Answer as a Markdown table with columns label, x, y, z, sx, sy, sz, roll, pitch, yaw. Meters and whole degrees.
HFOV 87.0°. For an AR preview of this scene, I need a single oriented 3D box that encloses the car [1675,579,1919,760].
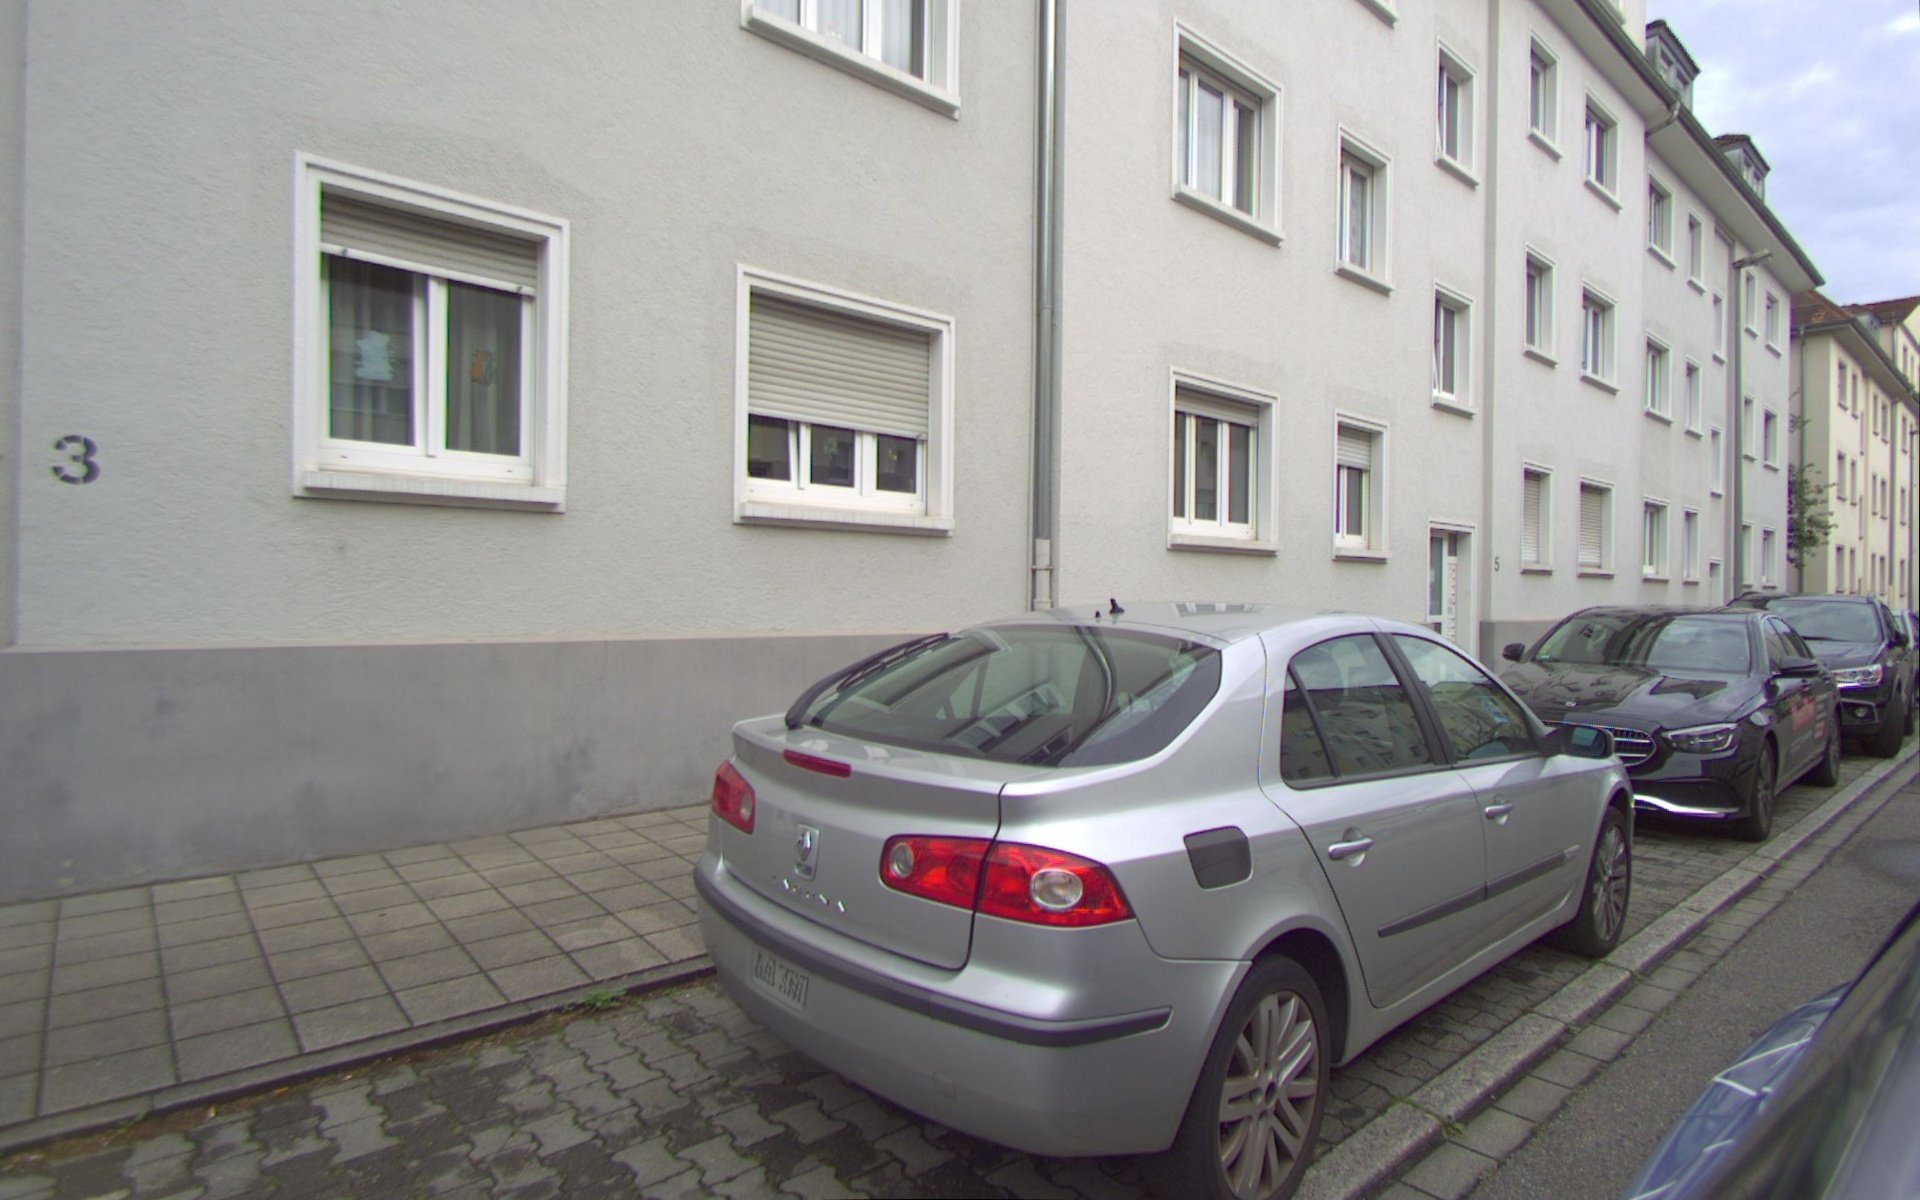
| label | x | y | z | sx | sy | sz | roll | pitch | yaw |
| --- | --- | --- | --- | --- | --- | --- | --- | --- | --- |
| car | 9.519 | 0.624 | 11.160 | 4.089 | 1.619 | 1.850 | 1 | 1 | -43 |

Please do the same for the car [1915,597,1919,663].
| label | x | y | z | sx | sy | sz | roll | pitch | yaw |
| --- | --- | --- | --- | --- | --- | --- | --- | --- | --- |
| car | 24.781 | 0.729 | 24.817 | 3.615 | 1.566 | 1.735 | 0 | 1 | -43 |

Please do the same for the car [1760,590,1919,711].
| label | x | y | z | sx | sy | sz | roll | pitch | yaw |
| --- | --- | --- | --- | --- | --- | --- | --- | --- | --- |
| car | 13.087 | 0.650 | 14.637 | 3.691 | 1.505 | 1.735 | 1 | 1 | -41 |

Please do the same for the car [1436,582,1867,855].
| label | x | y | z | sx | sy | sz | roll | pitch | yaw |
| --- | --- | --- | --- | --- | --- | --- | --- | --- | --- |
| car | 5.399 | 0.652 | 7.658 | 4.249 | 1.481 | 1.784 | 1 | 1 | -43 |

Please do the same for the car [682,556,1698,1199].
| label | x | y | z | sx | sy | sz | roll | pitch | yaw |
| --- | --- | --- | --- | --- | --- | --- | --- | --- | --- |
| car | 1.325 | 0.655 | 3.981 | 4.355 | 1.481 | 1.735 | 1 | 1 | -43 |
